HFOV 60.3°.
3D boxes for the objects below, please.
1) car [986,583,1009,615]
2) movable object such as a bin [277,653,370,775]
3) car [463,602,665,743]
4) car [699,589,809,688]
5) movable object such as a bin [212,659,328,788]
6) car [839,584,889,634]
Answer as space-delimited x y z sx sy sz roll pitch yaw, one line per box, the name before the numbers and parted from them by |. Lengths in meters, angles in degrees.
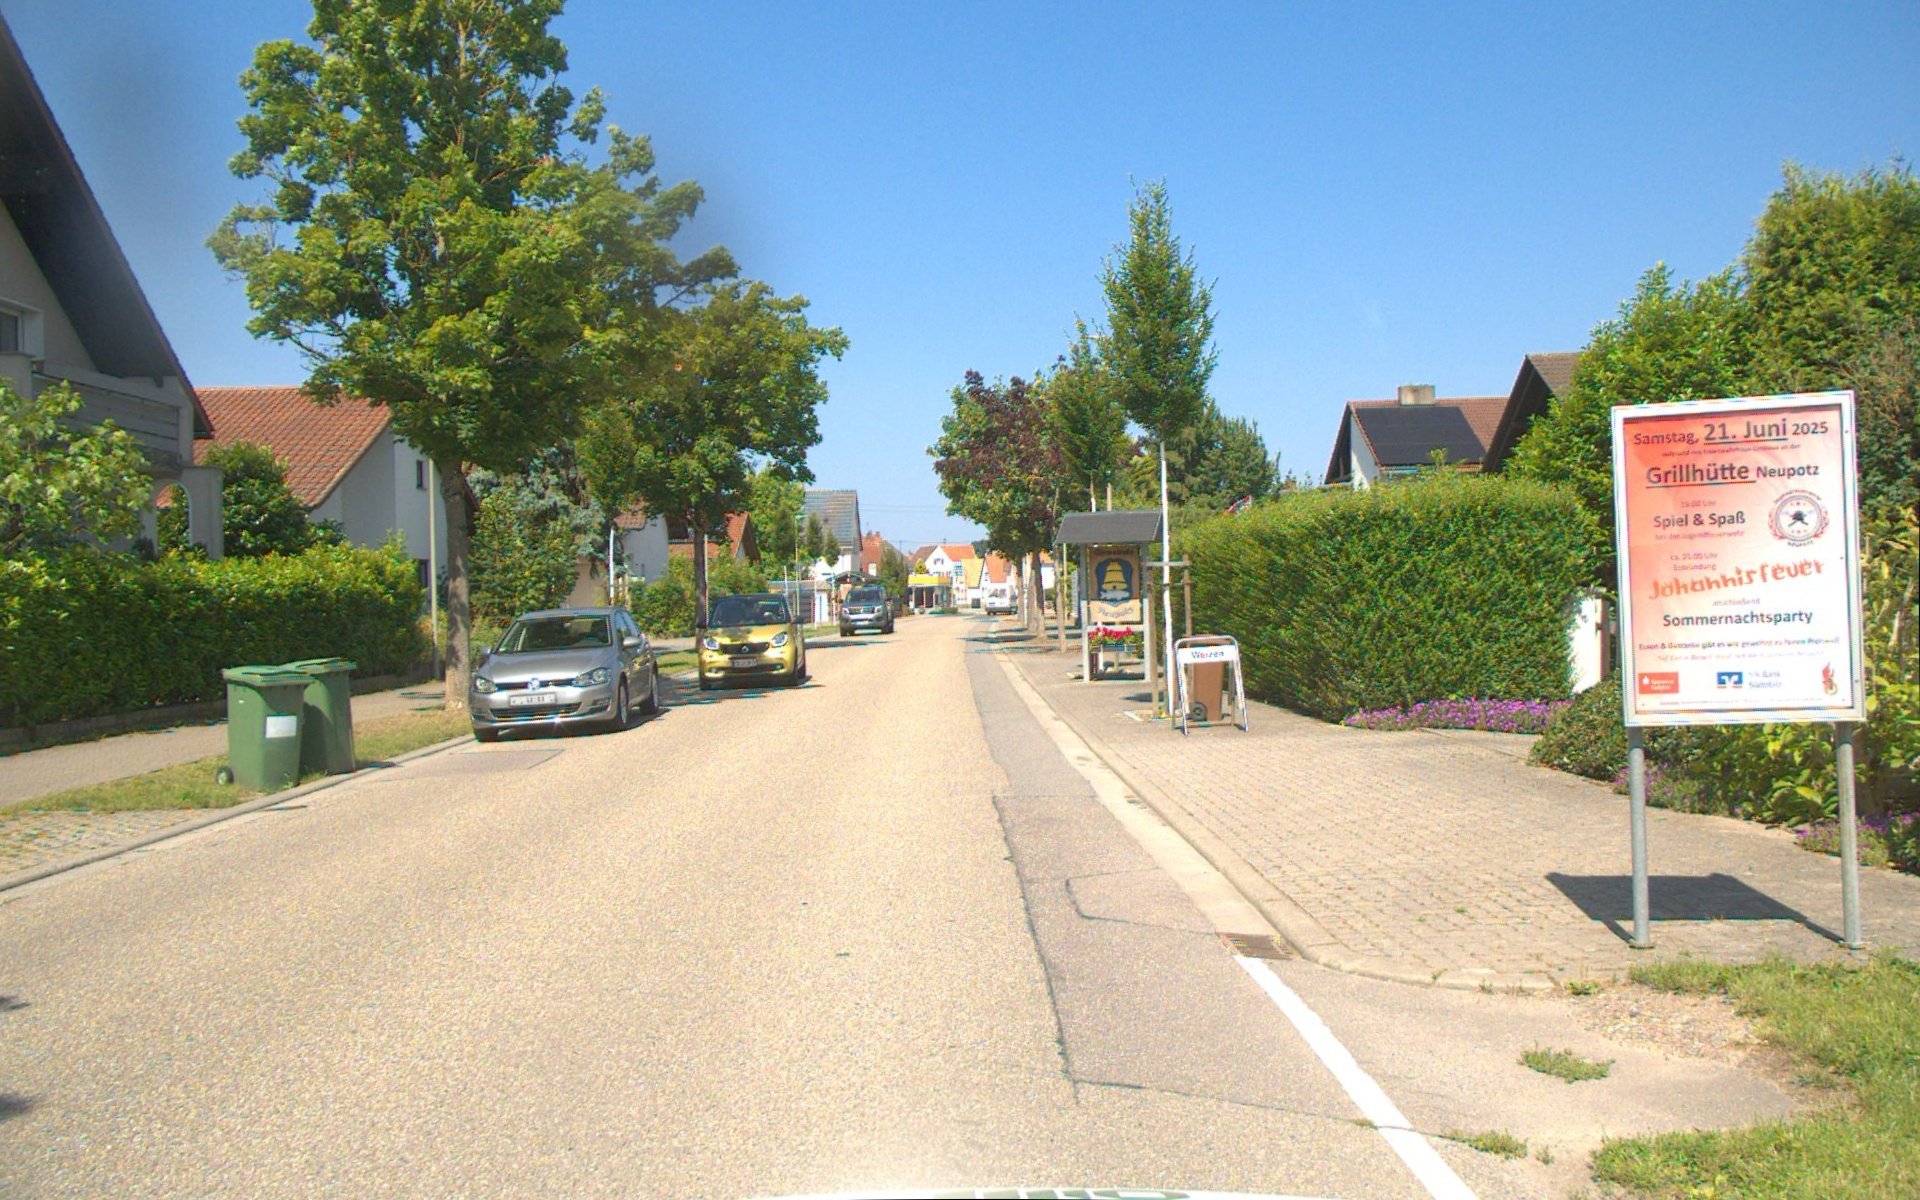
car | 3.036 -0.052 132.890 1.701 2.474 4.376 -2 0 3
movable object such as a bin | -5.996 1.064 15.604 0.562 1.097 0.599 -2 0 12
car | -4.764 0.806 20.435 1.614 1.448 4.078 -4 0 -3
car | -3.517 0.627 28.680 1.633 1.550 3.440 -2 0 -4
movable object such as a bin | -6.190 1.096 14.852 0.699 1.097 0.639 -2 0 24
car | -3.651 0.319 63.157 1.799 1.783 3.794 -2 0 -3
